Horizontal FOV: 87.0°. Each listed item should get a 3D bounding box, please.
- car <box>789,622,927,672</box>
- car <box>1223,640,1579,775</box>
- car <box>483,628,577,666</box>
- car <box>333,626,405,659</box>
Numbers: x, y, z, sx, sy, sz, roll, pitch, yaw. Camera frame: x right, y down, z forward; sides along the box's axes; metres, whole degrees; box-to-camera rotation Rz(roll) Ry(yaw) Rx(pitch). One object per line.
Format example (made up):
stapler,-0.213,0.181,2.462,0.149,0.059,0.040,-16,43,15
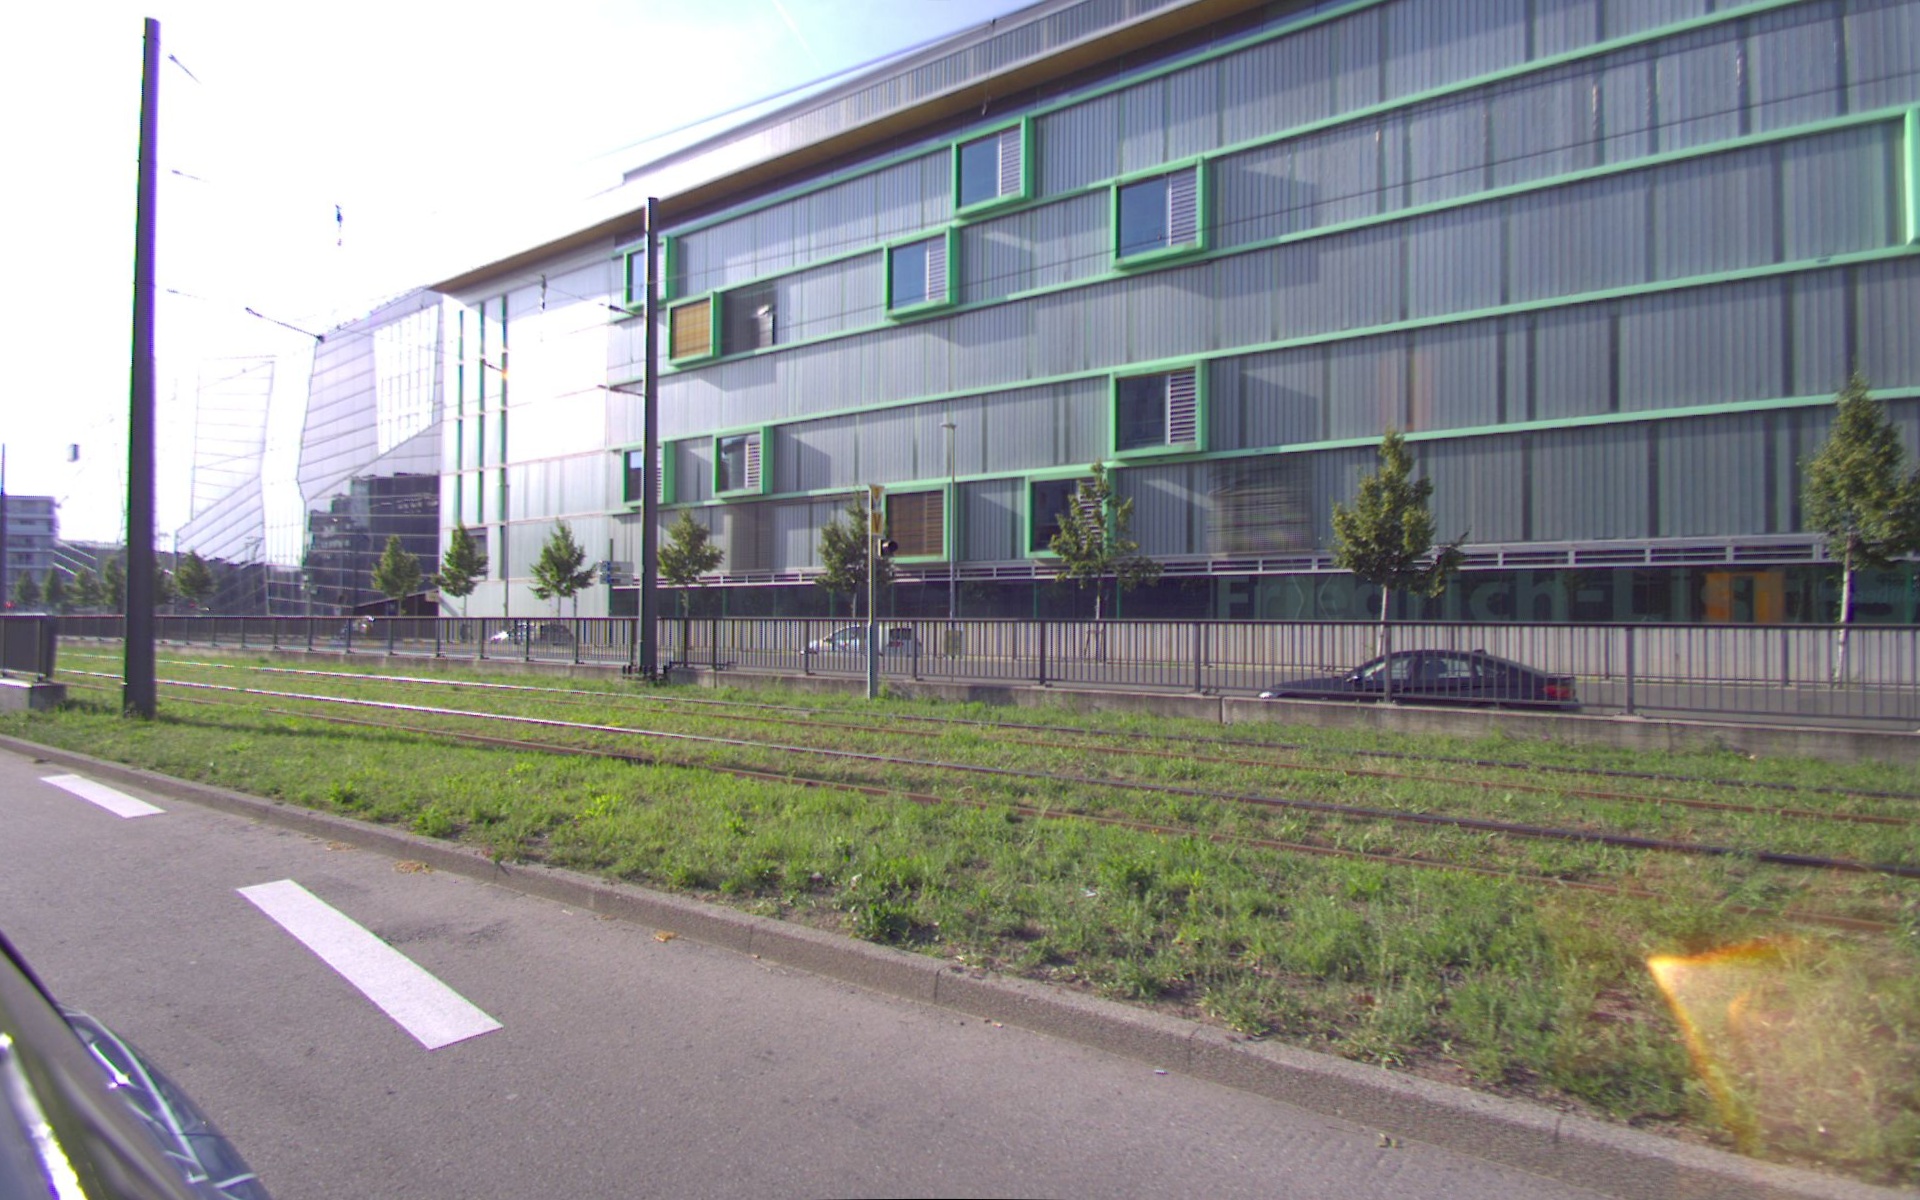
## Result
car,-3.180,1.404,31.189,4.176,1.433,1.646,-1,-2,35
car,6.665,1.500,15.506,4.715,1.700,1.976,-1,-2,35
car,-17.694,1.906,41.591,4.020,1.498,1.754,-1,-2,36
car,-30.702,2.180,52.520,4.019,1.619,1.755,-1,-2,36
